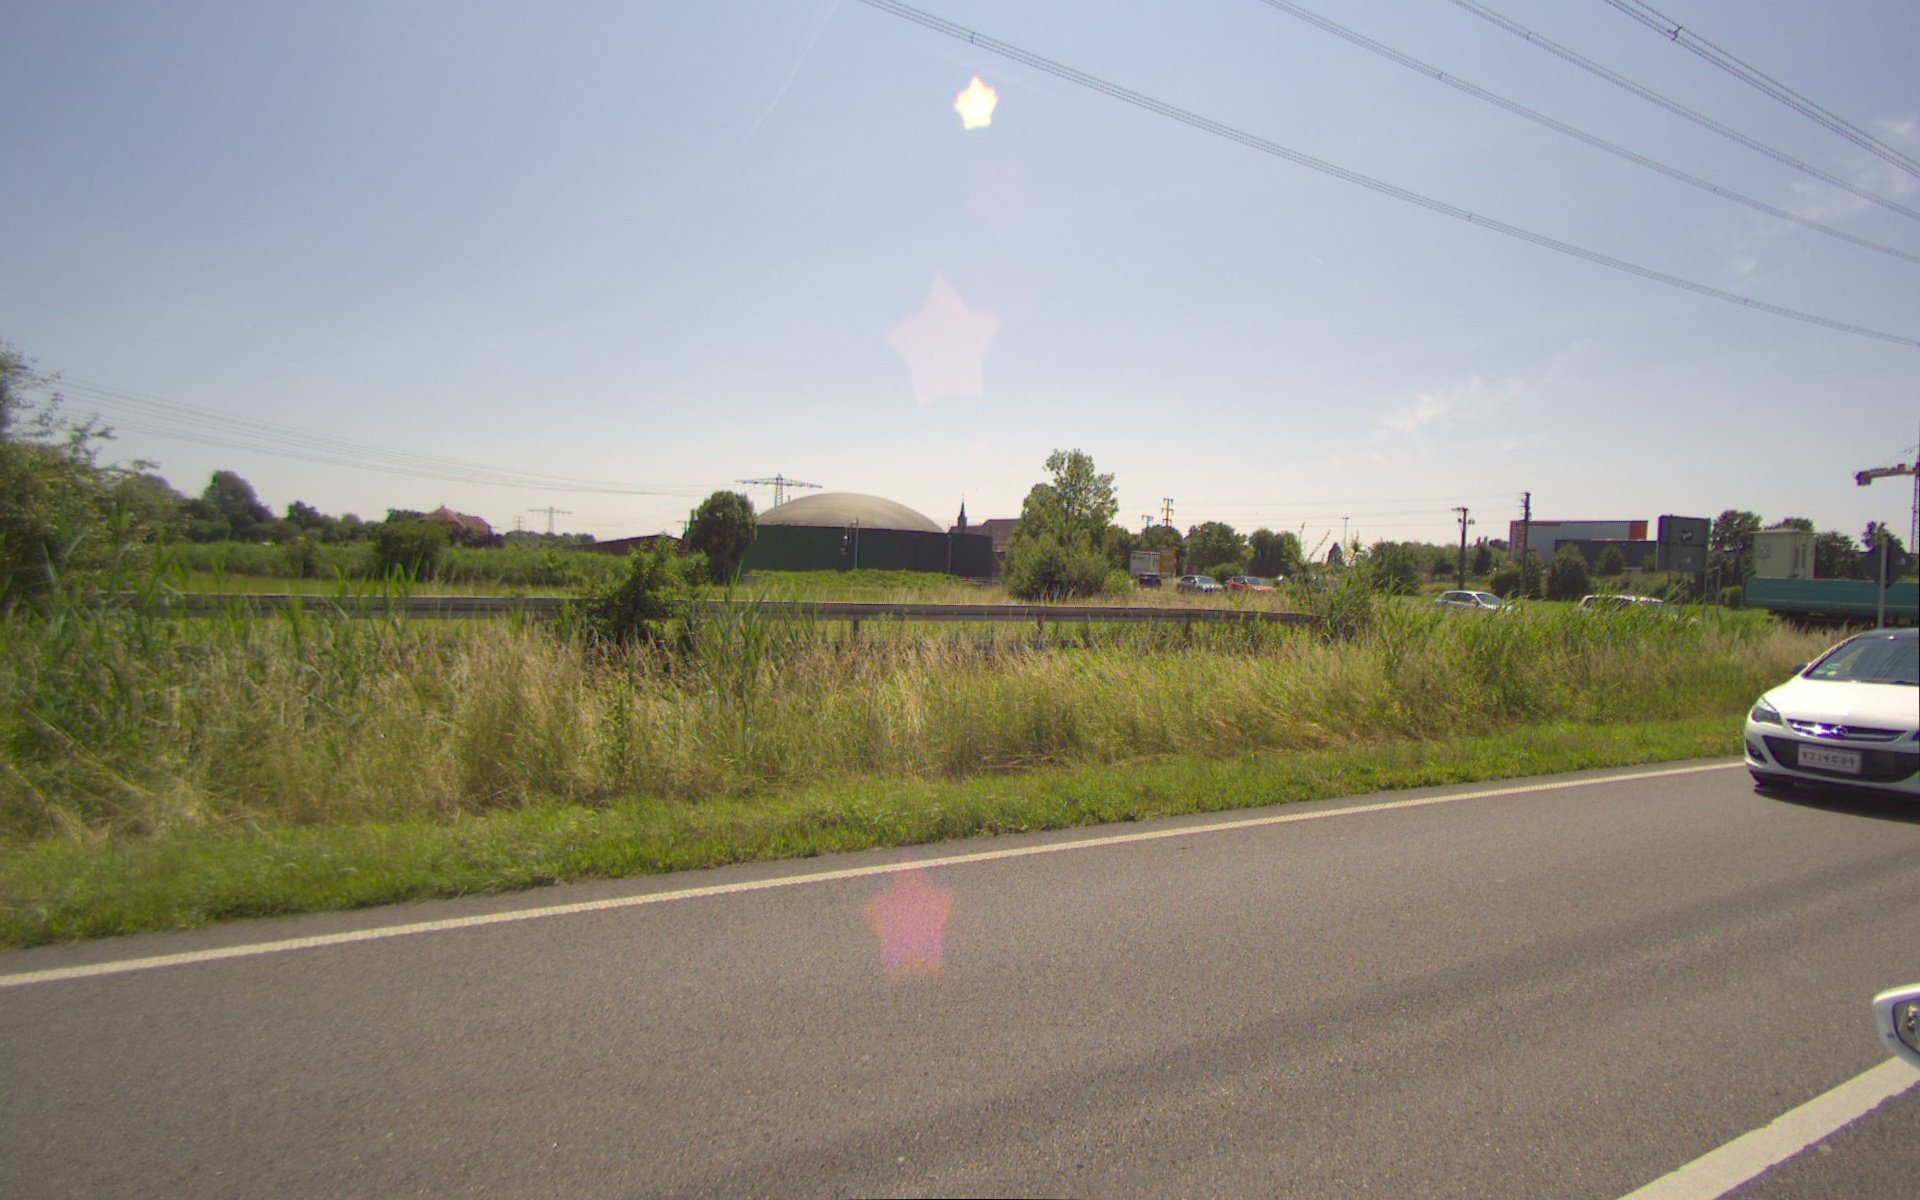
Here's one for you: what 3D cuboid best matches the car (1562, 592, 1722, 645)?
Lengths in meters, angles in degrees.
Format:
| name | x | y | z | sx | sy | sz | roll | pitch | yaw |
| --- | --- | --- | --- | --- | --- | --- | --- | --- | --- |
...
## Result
| name | x | y | z | sx | sy | sz | roll | pitch | yaw |
| --- | --- | --- | --- | --- | --- | --- | --- | --- | --- |
| car | 24.309 | 0.614 | 36.029 | 1.935 | 1.634 | 4.542 | 2 | 2 | -14 |

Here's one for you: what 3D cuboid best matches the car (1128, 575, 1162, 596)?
| name | x | y | z | sx | sy | sz | roll | pitch | yaw |
| --- | --- | --- | --- | --- | --- | --- | --- | --- | --- |
| car | 16.372 | -1.261 | 89.257 | 1.962 | 1.701 | 3.997 | 2 | 0 | -5 |

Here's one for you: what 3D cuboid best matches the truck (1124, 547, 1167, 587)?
| name | x | y | z | sx | sy | sz | roll | pitch | yaw |
| --- | --- | --- | --- | --- | --- | --- | --- | --- | --- |
| truck | 24.513 | -4.224 | 132.087 | 3.617 | 4.708 | 13.241 | 2 | 1 | 18 |

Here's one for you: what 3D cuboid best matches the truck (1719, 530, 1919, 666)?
| name | x | y | z | sx | sy | sz | roll | pitch | yaw |
| --- | --- | --- | --- | --- | --- | --- | --- | --- | --- |
| truck | 27.448 | -0.080 | 29.421 | 2.465 | 3.785 | 7.876 | 1 | 3 | -26 |

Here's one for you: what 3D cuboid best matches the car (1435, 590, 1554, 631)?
| name | x | y | z | sx | sy | sz | roll | pitch | yaw |
| --- | --- | --- | --- | --- | --- | --- | --- | --- | --- |
| car | 22.166 | 0.403 | 41.849 | 1.691 | 1.490 | 4.428 | 1 | 1 | -18 |

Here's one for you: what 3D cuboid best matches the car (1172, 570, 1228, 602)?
| name | x | y | z | sx | sy | sz | roll | pitch | yaw |
| --- | --- | --- | --- | --- | --- | --- | --- | --- | --- |
| car | 15.374 | -0.893 | 64.526 | 1.633 | 1.927 | 3.984 | 1 | 1 | -18 |

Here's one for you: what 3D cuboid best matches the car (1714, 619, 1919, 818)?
| name | x | y | z | sx | sy | sz | roll | pitch | yaw |
| --- | --- | --- | --- | --- | --- | --- | --- | --- | --- |
| car | 8.872 | 0.954 | 9.092 | 4.197 | 1.460 | 1.717 | 1 | 1 | -29 |

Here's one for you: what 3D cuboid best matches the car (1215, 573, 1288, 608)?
| name | x | y | z | sx | sy | sz | roll | pitch | yaw |
| --- | --- | --- | --- | --- | --- | --- | --- | --- | --- |
| car | 16.946 | -0.579 | 58.619 | 1.885 | 1.874 | 4.465 | 1 | 2 | -18 |
